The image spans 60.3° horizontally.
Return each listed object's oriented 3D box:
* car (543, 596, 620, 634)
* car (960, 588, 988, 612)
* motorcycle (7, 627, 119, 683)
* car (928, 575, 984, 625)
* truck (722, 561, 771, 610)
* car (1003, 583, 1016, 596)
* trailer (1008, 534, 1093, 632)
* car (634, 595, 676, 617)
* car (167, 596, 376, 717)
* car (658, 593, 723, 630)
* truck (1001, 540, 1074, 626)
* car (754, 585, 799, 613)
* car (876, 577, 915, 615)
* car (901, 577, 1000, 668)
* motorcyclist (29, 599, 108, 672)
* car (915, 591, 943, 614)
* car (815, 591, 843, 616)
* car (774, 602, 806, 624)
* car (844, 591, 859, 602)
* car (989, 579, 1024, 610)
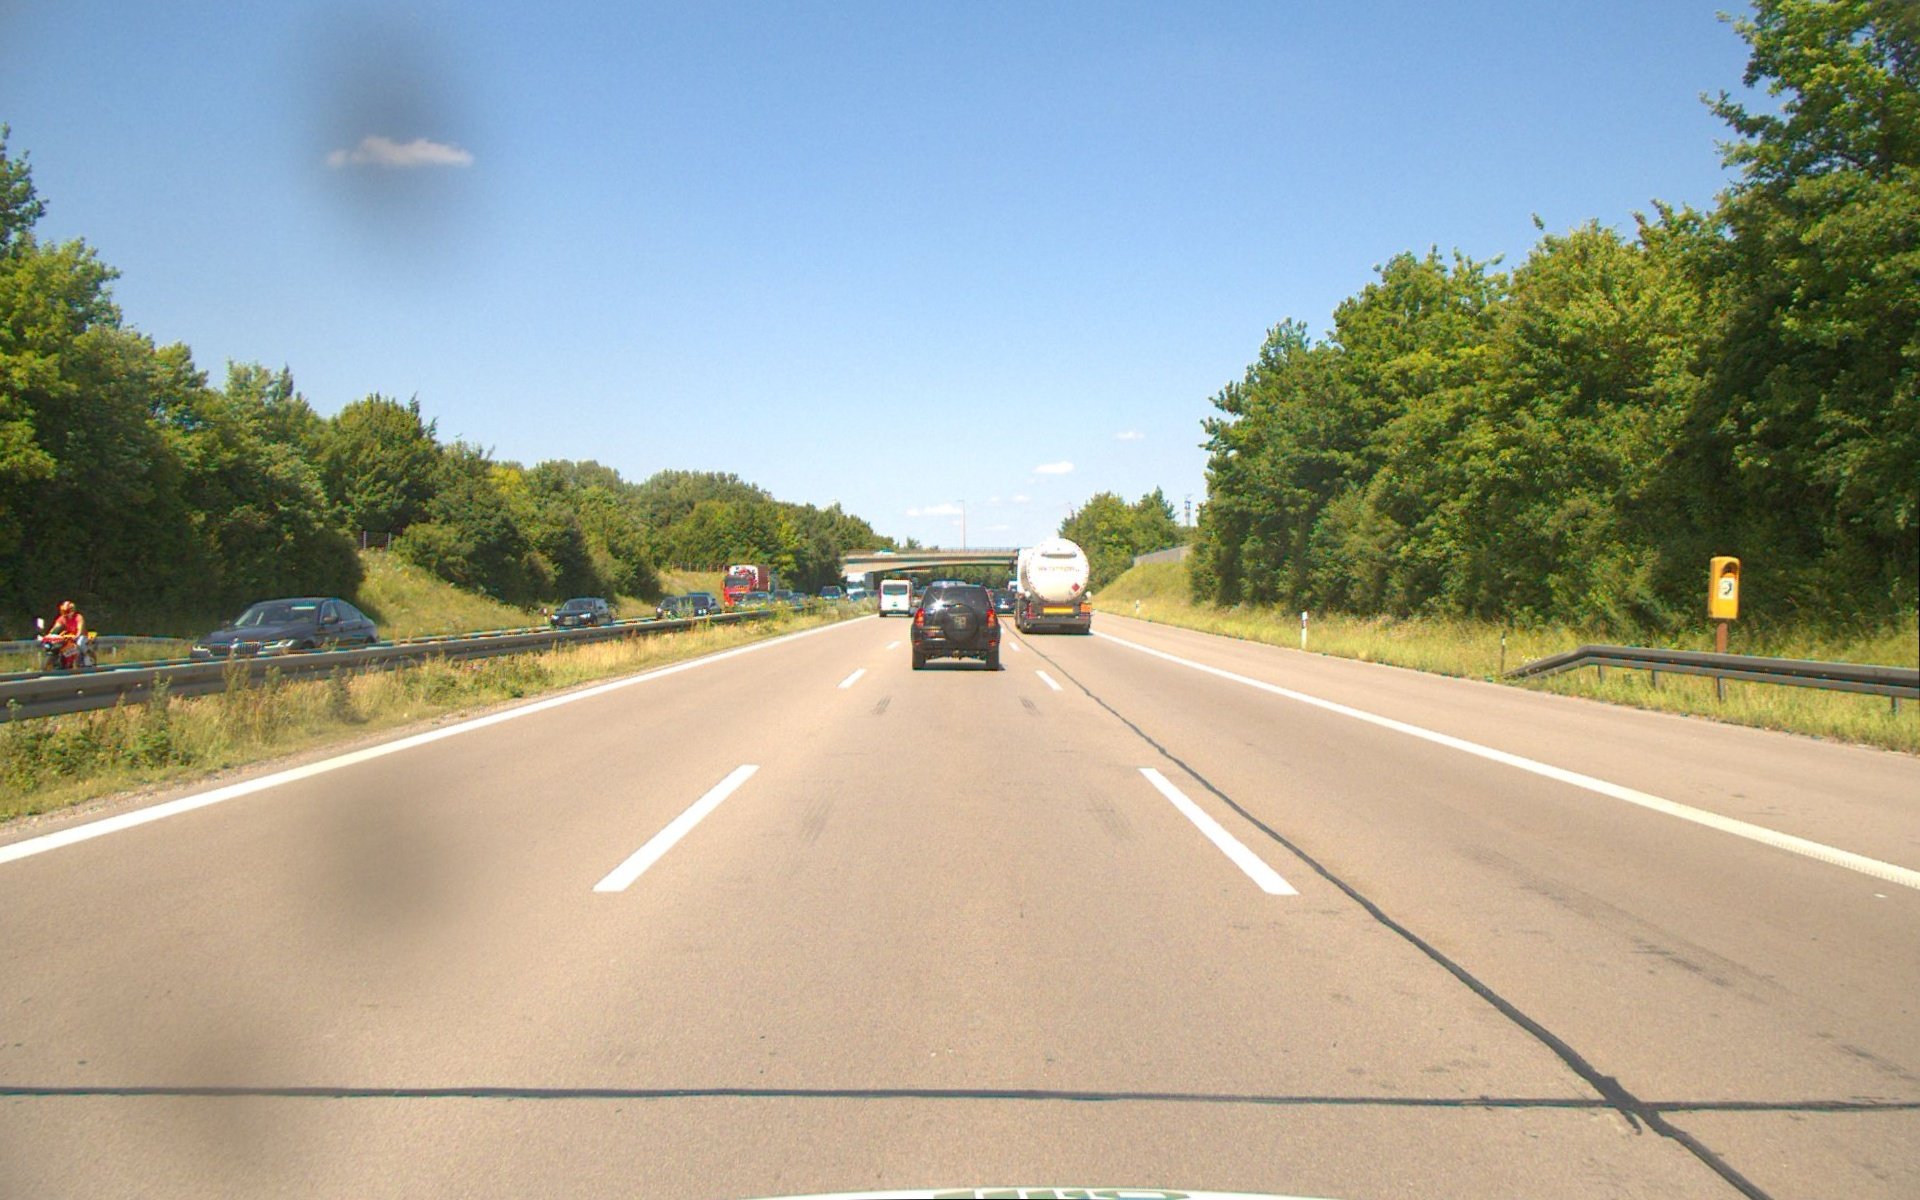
[{"bbox_3d":[-15.837,0.594,69.503,1.953,1.500,5.622,-1,0,0],"label":"car"},{"bbox_3d":[1.089,0.021,127.093,1.952,1.780,4.206,-1,0,2],"label":"car"},{"bbox_3d":[-18.661,1.132,34.490,0.916,1.035,2.654,-1,0,-1],"label":"motorcycle"},{"bbox_3d":[-0.144,0.006,61.399,1.953,1.735,4.335,-1,0,0],"label":"car"},{"bbox_3d":[-17.893,-1.225,138.872,2.624,3.835,9.919,-2,0,0],"label":"truck"},{"bbox_3d":[7.014,-1.505,235.154,1.775,1.777,4.000,-1,0,1],"label":"car"},{"bbox_3d":[3.360,-0.632,64.121,2.594,3.449,11.150,0,0,-1],"label":"trailer"},{"bbox_3d":[-19.322,0.373,105.089,1.711,1.320,5.062,-1,0,0],"label":"car"},{"bbox_3d":[-12.017,0.908,29.258,1.656,1.914,5.017,-1,0,-1],"label":"car"},{"bbox_3d":[-11.454,0.465,70.531,1.953,1.500,4.830,-1,0,0],"label":"car"},{"bbox_3d":[3.190,-0.696,69.722,2.584,3.433,6.485,0,0,-2],"label":"truck"},{"bbox_3d":[-10.223,-0.070,92.542,1.914,1.509,4.346,-1,0,1],"label":"car"},{"bbox_3d":[-3.626,-0.227,93.557,1.952,2.049,4.950,-1,0,0],"label":"car"},{"bbox_3d":[-0.137,0.423,33.427,1.867,1.694,4.001,-1,0,1],"label":"car"},{"bbox_3d":[-18.678,0.730,34.683,0.921,1.469,1.356,-1,0,-2],"label":"motorcyclist"},{"bbox_3d":[-2.190,0.164,117.793,1.953,1.579,3.999,-1,-1,-1],"label":"car"},{"bbox_3d":[-10.639,0.277,134.994,1.953,1.898,4.897,-1,0,-1],"label":"car"},{"bbox_3d":[-11.189,0.851,109.229,1.633,1.340,4.121,-1,0,1],"label":"car"},{"bbox_3d":[-15.655,-0.507,239.154,1.820,1.628,4.721,-1,0,0],"label":"car"},{"bbox_3d":[2.724,-0.318,96.856,1.952,1.713,4.001,-1,-1,2],"label":"car"}]
